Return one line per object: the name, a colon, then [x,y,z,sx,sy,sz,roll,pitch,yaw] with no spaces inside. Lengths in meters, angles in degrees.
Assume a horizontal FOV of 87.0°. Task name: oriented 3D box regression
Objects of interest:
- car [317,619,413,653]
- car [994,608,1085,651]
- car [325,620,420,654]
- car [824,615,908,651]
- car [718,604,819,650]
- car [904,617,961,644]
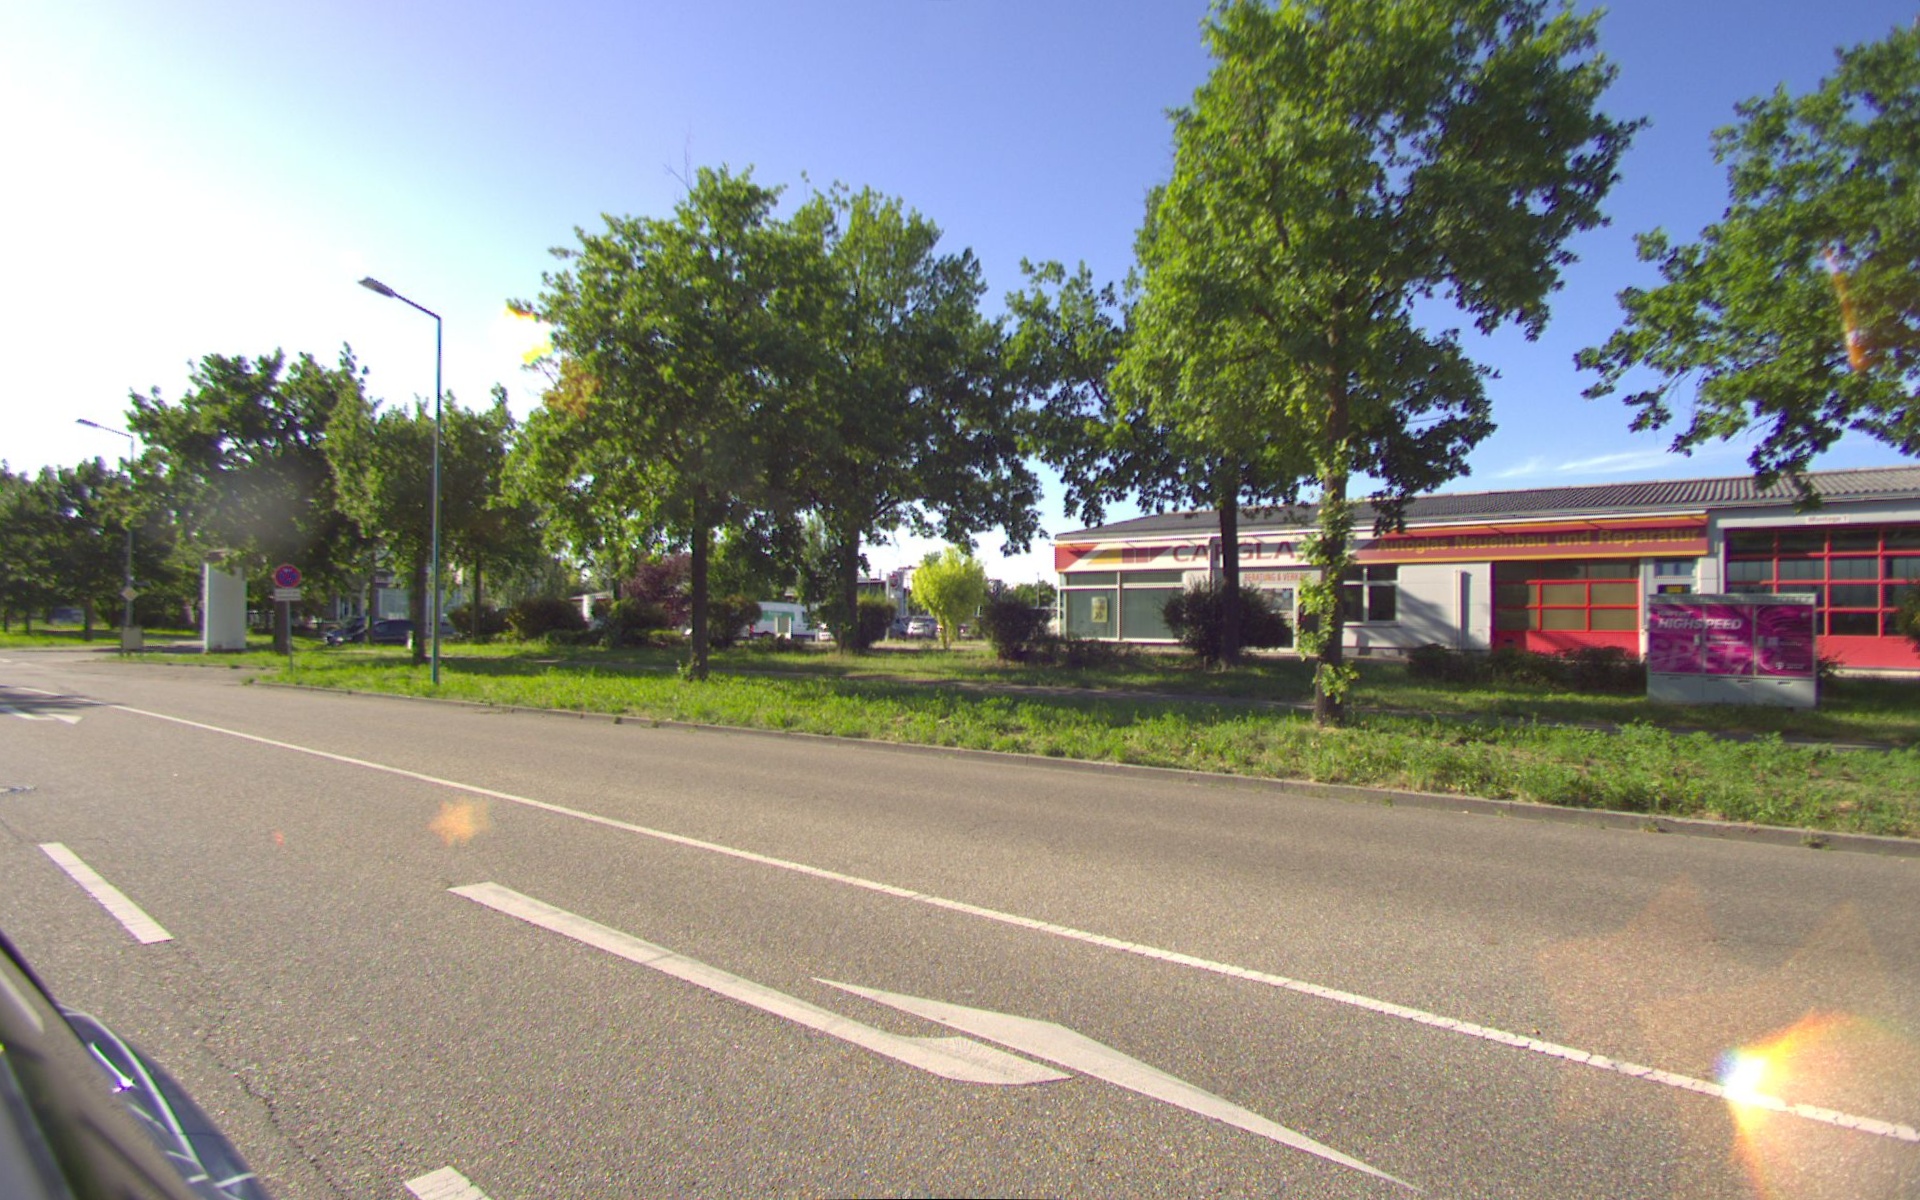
car: [-35.953,2.139,61.233,1.999,1.847,4.578,-1,0,41]
car: [3.229,1.149,40.599,1.734,1.583,3.769,-3,-1,40]
car: [-34.222,2.117,59.040,1.999,1.847,4.406,-1,0,41]
car: [-5.128,1.757,55.785,1.989,1.795,4.583,-1,0,40]
car: [-11.434,1.585,60.997,2.406,2.574,5.952,-1,0,36]
car: [-1.853,2.039,68.618,1.761,1.684,3.811,-1,0,40]
